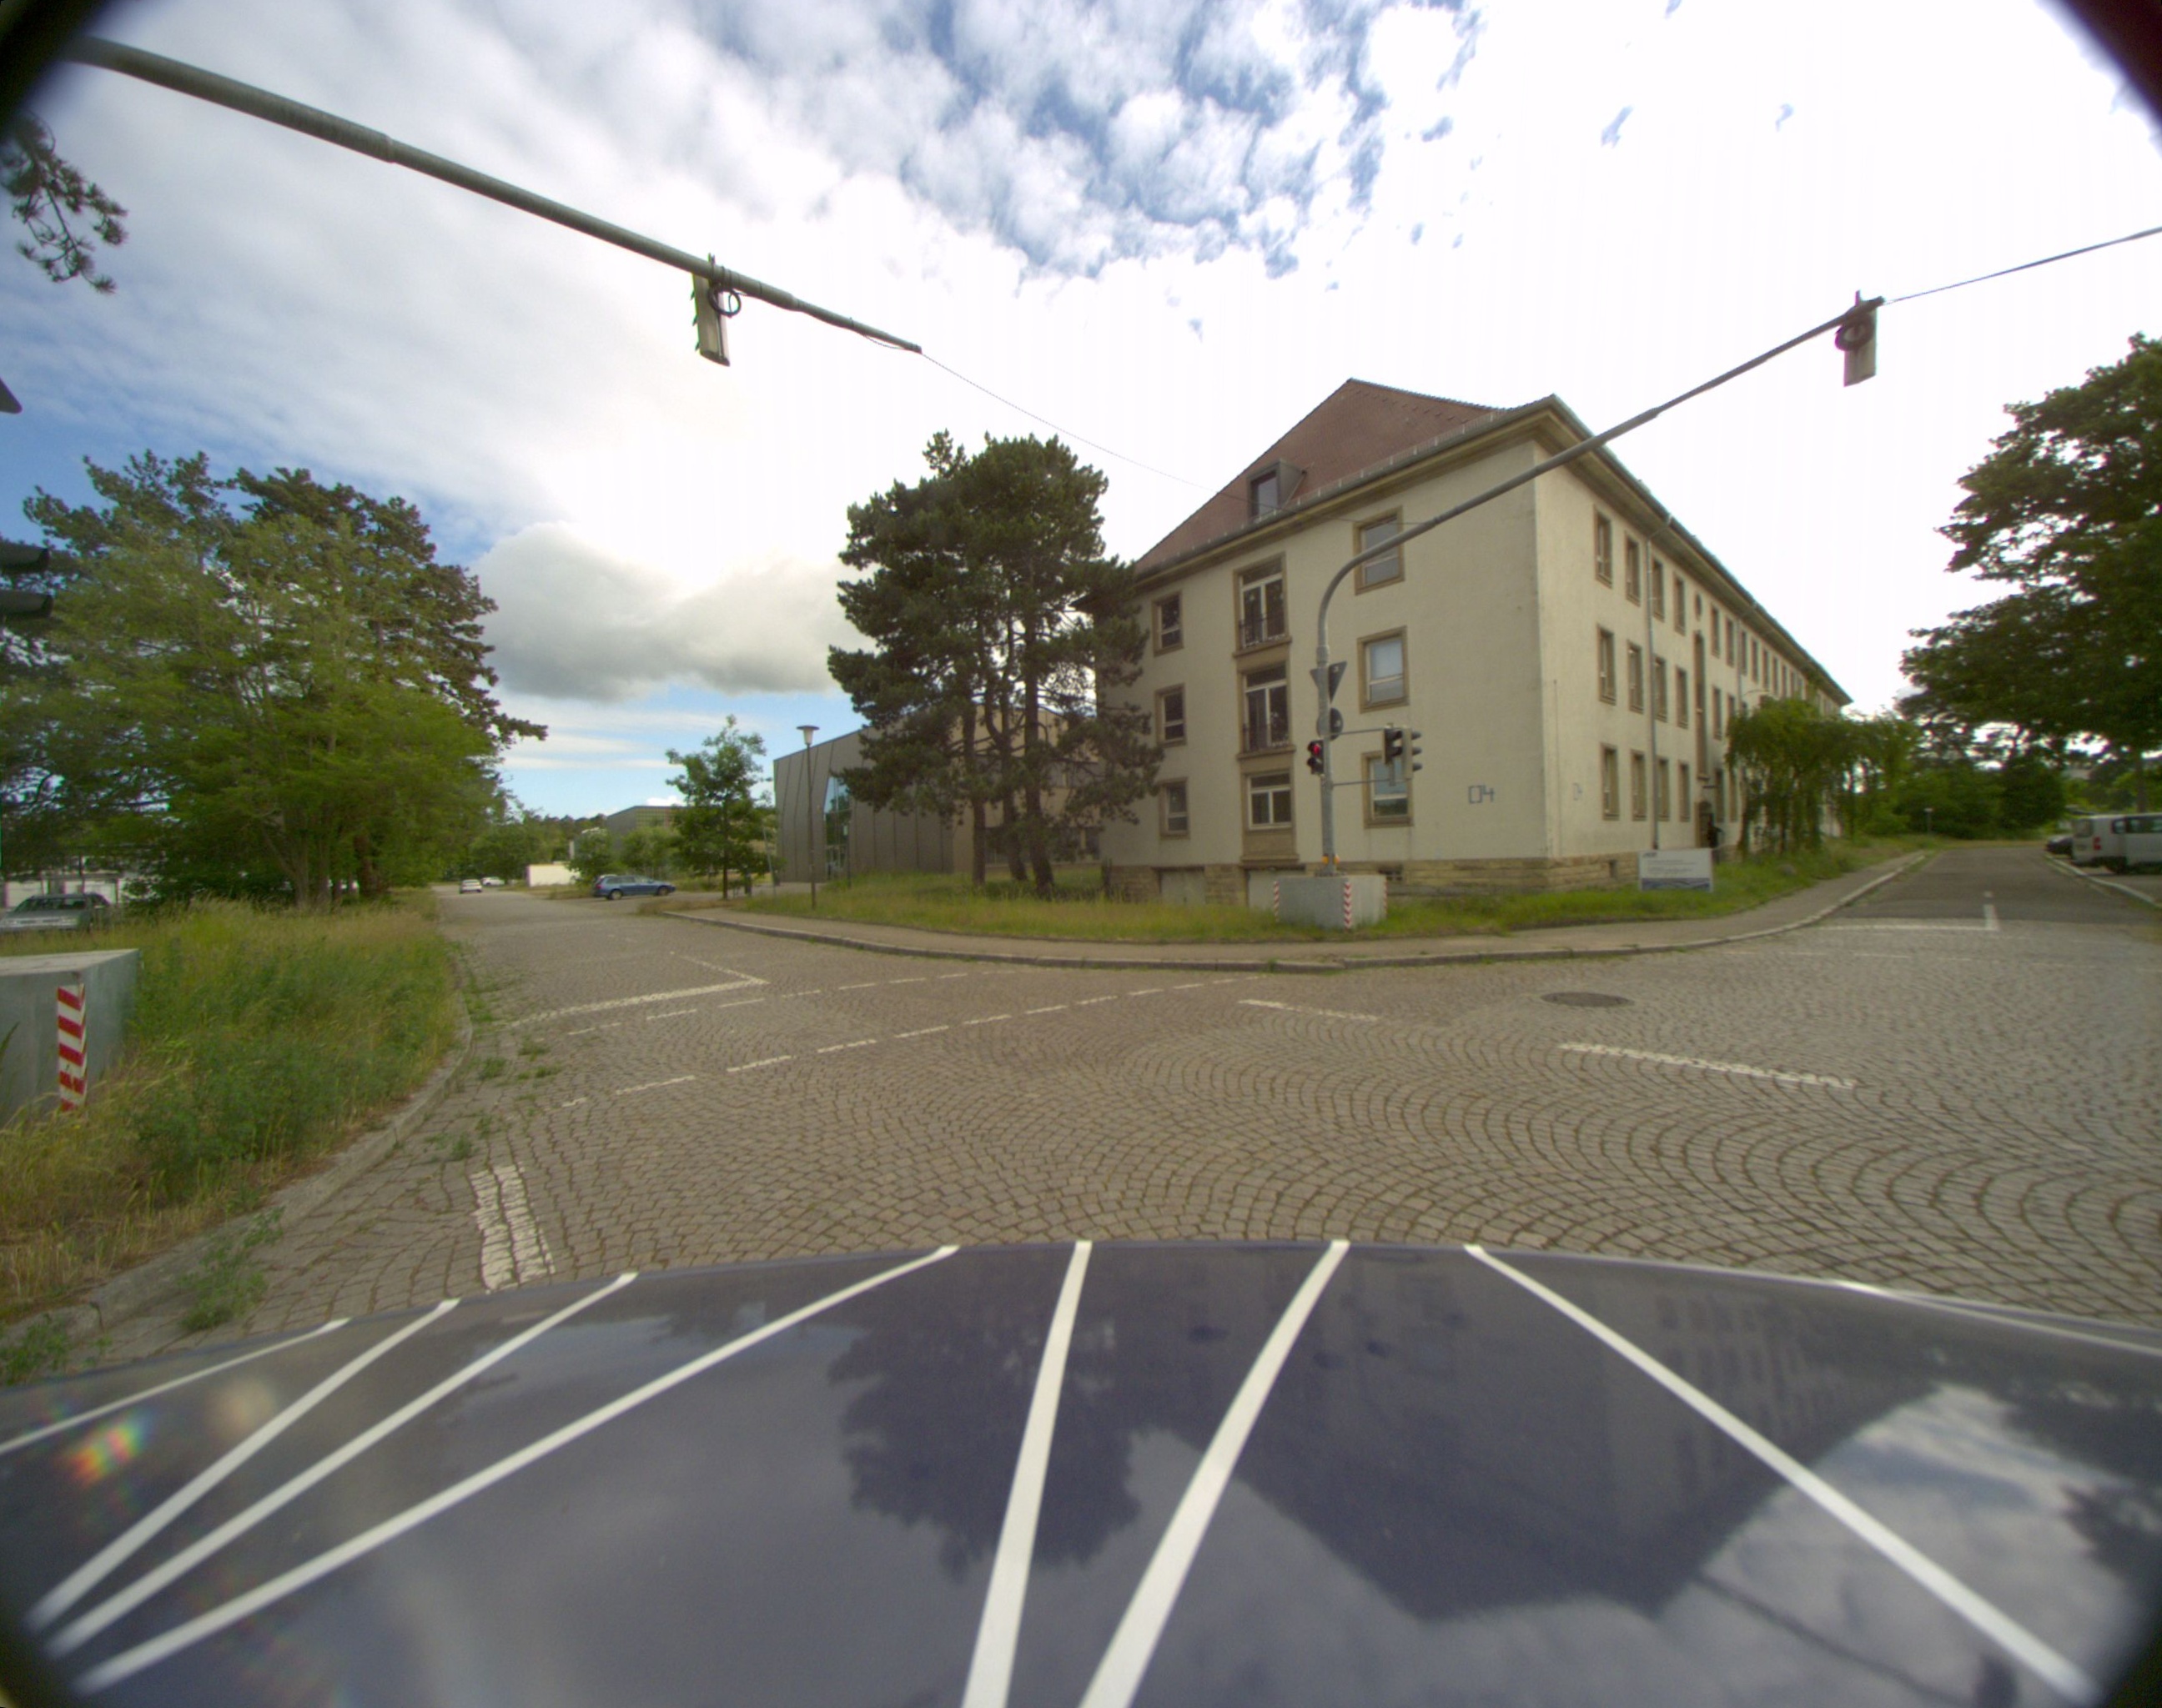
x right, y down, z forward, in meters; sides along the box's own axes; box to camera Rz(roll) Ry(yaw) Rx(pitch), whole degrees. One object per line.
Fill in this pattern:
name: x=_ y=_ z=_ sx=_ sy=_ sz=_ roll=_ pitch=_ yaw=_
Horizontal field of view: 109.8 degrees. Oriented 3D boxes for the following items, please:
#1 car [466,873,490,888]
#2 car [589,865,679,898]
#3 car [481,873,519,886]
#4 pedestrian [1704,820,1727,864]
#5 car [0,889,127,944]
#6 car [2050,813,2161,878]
car: x=-66.221 y=2.934 z=83.404 sx=1.890 sy=1.516 sz=3.989 roll=-2 pitch=0 yaw=-39
car: x=-27.979 y=1.679 z=47.648 sx=4.485 sy=1.820 sz=1.995 roll=-2 pitch=0 yaw=-41
car: x=-89.608 y=3.860 z=117.170 sx=4.485 sy=1.820 sz=1.995 roll=-2 pitch=0 yaw=-41
pedestrian: x=24.787 y=-0.478 z=29.693 sx=0.533 sy=1.691 sz=0.567 roll=-2 pitch=1 yaw=-37
car: x=-32.765 y=1.943 z=24.432 sx=1.976 sy=1.474 sz=3.989 roll=-2 pitch=0 yaw=-43
car: x=34.210 y=-0.299 z=23.215 sx=5.352 sy=1.987 sz=2.295 roll=-2 pitch=0 yaw=42
